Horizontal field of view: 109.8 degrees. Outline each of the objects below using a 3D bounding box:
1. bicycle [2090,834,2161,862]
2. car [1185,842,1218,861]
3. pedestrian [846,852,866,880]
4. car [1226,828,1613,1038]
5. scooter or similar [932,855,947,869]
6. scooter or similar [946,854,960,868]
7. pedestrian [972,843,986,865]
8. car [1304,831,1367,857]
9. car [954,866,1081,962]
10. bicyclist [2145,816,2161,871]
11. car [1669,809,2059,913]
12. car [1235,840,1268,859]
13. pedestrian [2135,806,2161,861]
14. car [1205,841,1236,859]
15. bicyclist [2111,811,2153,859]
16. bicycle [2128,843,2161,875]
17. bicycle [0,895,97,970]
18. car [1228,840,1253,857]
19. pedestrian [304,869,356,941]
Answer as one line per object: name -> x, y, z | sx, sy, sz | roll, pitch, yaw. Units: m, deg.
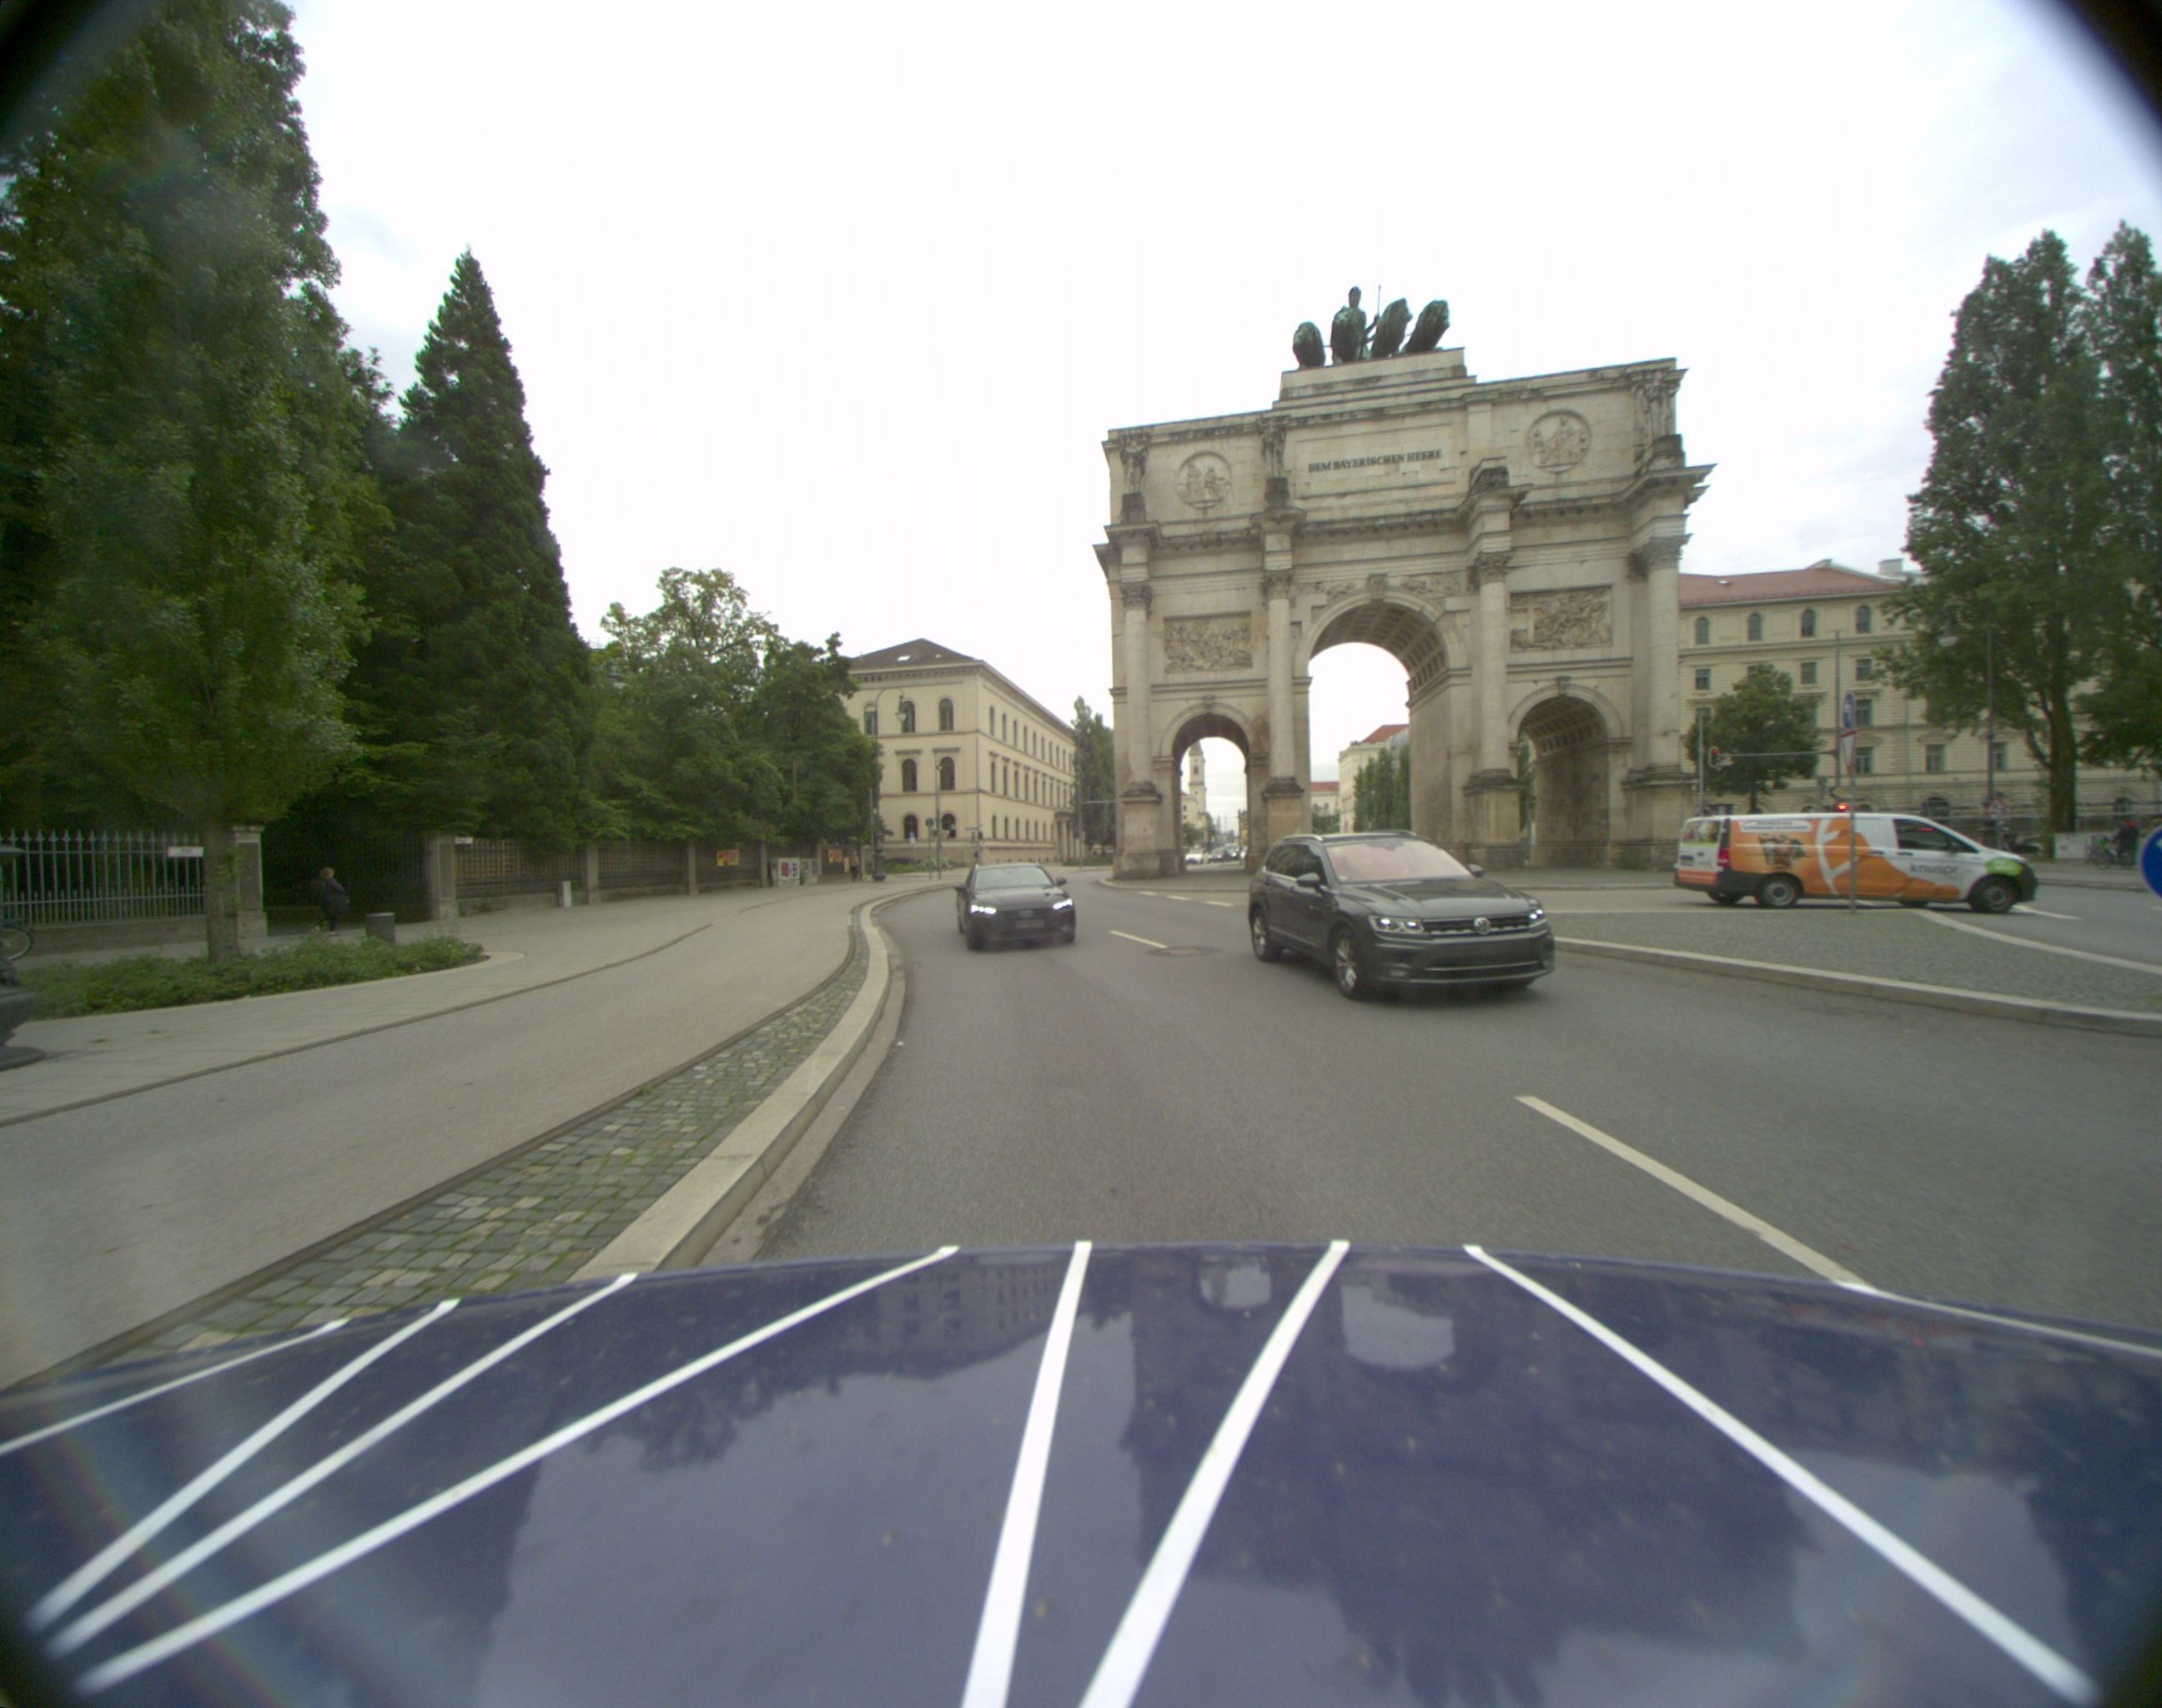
bicycle -> 38.617, -0.213, 27.944 | 0.645, 0.968, 1.757 | -2, 1, -32
car -> 11.606, -0.257, 72.943 | 1.784, 1.740, 4.327 | -1, 1, 27
pedestrian -> -12.914, 0.680, 43.634 | 0.737, 1.589, 0.818 | -1, 1, 12
car -> 3.272, 0.629, 8.517 | 1.954, 1.615, 4.408 | -4, 1, -6
scooter or similar -> -11.939, 0.667, 64.025 | 0.567, 1.135, 1.658 | -1, 1, 13
scooter or similar -> -10.820, 0.623, 64.156 | 0.567, 1.135, 1.658 | -1, 1, 13
pedestrian -> -9.352, -0.009, 69.434 | 1.004, 2.002, 0.943 | -2, 1, -25
car -> 19.350, -0.775, 57.924 | 4.305, 1.846, 1.892 | -2, 1, 11
car -> -1.357, 0.980, 14.316 | 1.924, 1.320, 4.407 | -4, 1, -10
bicyclist -> 33.747, -0.336, 23.466 | 0.642, 1.700, 0.861 | -1, 1, 16
car -> 15.042, 0.081, 15.017 | 4.980, 1.844, 2.007 | 0, 3, 16
car -> 16.769, -0.472, 74.642 | 1.783, 1.740, 4.328 | -1, 1, 33
pedestrian -> 39.589, -0.759, 27.973 | 0.795, 2.002, 0.755 | -2, 1, -24
car -> 14.269, -0.415, 77.679 | 1.784, 1.740, 4.328 | -1, 1, 30
bicyclist -> 38.615, -0.693, 27.919 | 0.645, 1.700, 0.858 | -2, 1, -31
bicycle -> 33.774, 0.149, 23.527 | 0.642, 0.968, 1.763 | -1, 1, 16
bicycle -> -19.306, 1.418, 13.061 | 0.674, 1.232, 3.000 | 0, 1, 5
car -> 17.534, -0.595, 83.462 | 1.784, 1.740, 4.327 | -1, 1, 25
pedestrian -> -17.436, 1.186, 17.653 | 0.590, 1.611, 0.537 | -2, 1, 11
